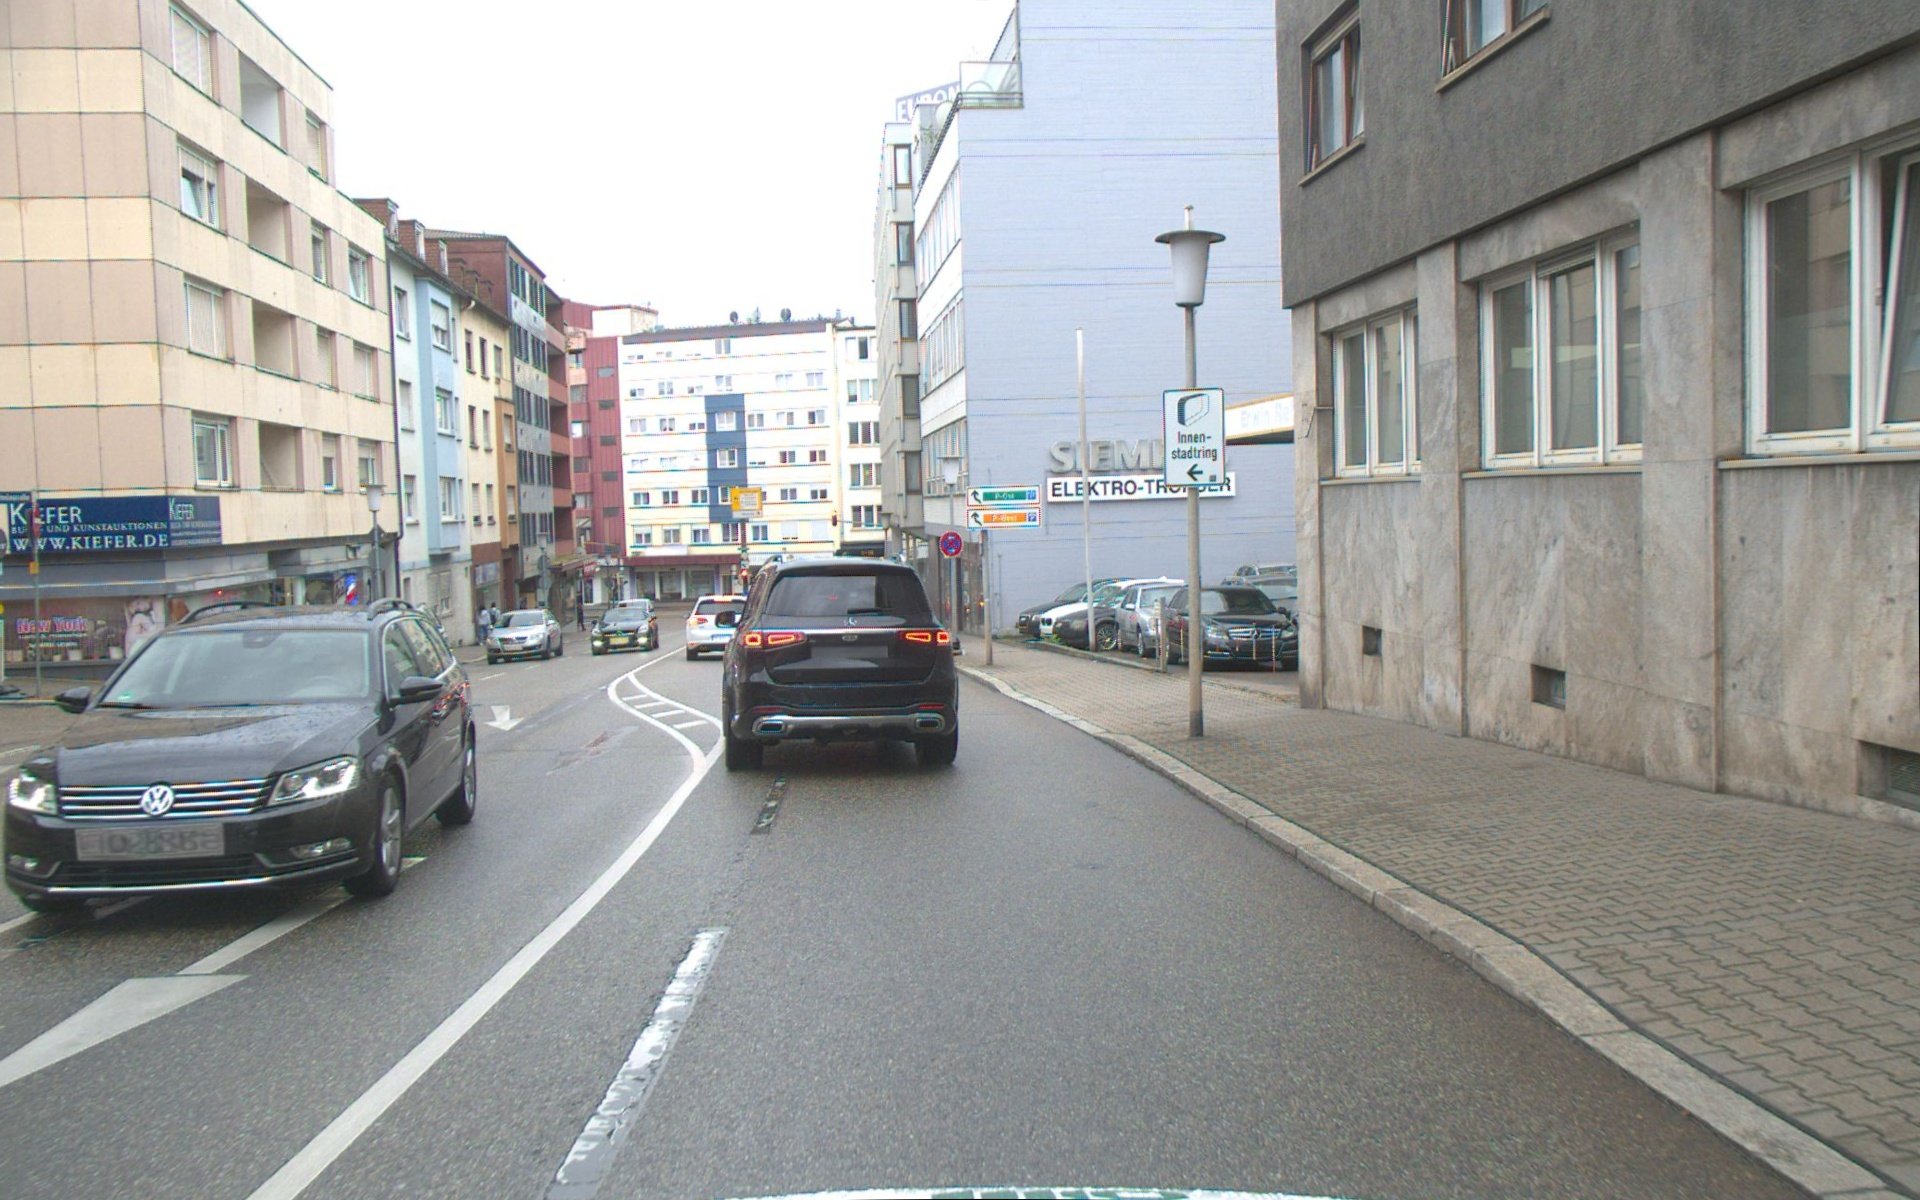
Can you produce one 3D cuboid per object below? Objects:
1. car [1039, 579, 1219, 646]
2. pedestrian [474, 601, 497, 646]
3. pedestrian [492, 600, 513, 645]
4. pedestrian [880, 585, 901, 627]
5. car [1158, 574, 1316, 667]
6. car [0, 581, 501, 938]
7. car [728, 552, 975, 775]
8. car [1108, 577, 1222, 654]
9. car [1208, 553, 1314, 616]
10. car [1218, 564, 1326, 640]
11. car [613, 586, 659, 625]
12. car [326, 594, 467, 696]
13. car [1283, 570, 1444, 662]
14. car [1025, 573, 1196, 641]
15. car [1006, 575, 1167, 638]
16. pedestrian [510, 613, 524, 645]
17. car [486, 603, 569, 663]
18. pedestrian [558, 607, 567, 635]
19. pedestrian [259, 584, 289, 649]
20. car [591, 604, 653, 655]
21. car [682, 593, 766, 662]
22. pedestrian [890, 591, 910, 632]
[{"bbox_3d":[3.988,0.293,39.046,3.936,1.521,1.719,0,-1,-25],"label":"car"},{"bbox_3d":[-18.289,0.897,63.739,0.726,1.680,0.605,-2,4,-9],"label":"pedestrian"},{"bbox_3d":[-17.838,0.866,64.471,0.659,1.680,0.605,-2,4,-9],"label":"pedestrian"},{"bbox_3d":[-2.810,0.230,67.070,0.755,1.639,0.703,-2,2,-9],"label":"pedestrian"},{"bbox_3d":[4.811,0.319,29.309,1.761,1.503,4.481,0,0,-4],"label":"car"},{"bbox_3d":[-3.837,0.726,9.553,1.691,1.542,4.361,-1,-1,-8],"label":"car"},{"bbox_3d":[-1.171,0.491,15.611,1.983,1.770,4.739,0,0,-8],"label":"car"},{"bbox_3d":[4.250,0.287,34.870,1.535,1.503,4.065,0,0,-6],"label":"car"},{"bbox_3d":[8.235,-0.389,45.555,1.615,1.625,3.857,0,-1,-11],"label":"car"},{"bbox_3d":[6.674,0.064,35.637,1.497,1.539,3.389,0,-1,-3],"label":"car"},{"bbox_3d":[-16.411,0.260,84.031,1.834,1.783,4.392,-4,1,-7],"label":"car"},{"bbox_3d":[-10.198,0.783,30.202,1.684,1.613,4.134,-4,0,-10],"label":"car"},{"bbox_3d":[7.179,0.249,29.881,1.760,1.503,4.485,-1,0,0],"label":"car"},{"bbox_3d":[3.771,0.179,41.556,3.936,1.625,1.785,0,-1,-25],"label":"car"},{"bbox_3d":[3.375,0.173,44.139,3.936,1.625,1.785,0,-1,-25],"label":"car"},{"bbox_3d":[-17.222,1.114,64.358,0.418,1.182,0.586,-1,4,-9],"label":"pedestrian"},{"bbox_3d":[-12.728,0.965,48.928,1.712,1.565,4.635,-4,0,-7],"label":"car"},{"bbox_3d":[-21.283,1.113,88.560,0.311,1.499,0.339,-1,4,-1],"label":"pedestrian"},{"bbox_3d":[-19.391,0.460,46.776,0.588,1.759,0.571,-2,4,-9],"label":"pedestrian"},{"bbox_3d":[-10.081,0.856,49.529,1.684,1.340,4.133,-2,1,-11],"label":"car"},{"bbox_3d":[-5.710,0.616,39.672,1.797,1.487,4.368,-3,1,-10],"label":"car"},{"bbox_3d":[-2.468,0.455,67.862,0.704,1.639,0.609,-2,2,-9],"label":"pedestrian"}]
